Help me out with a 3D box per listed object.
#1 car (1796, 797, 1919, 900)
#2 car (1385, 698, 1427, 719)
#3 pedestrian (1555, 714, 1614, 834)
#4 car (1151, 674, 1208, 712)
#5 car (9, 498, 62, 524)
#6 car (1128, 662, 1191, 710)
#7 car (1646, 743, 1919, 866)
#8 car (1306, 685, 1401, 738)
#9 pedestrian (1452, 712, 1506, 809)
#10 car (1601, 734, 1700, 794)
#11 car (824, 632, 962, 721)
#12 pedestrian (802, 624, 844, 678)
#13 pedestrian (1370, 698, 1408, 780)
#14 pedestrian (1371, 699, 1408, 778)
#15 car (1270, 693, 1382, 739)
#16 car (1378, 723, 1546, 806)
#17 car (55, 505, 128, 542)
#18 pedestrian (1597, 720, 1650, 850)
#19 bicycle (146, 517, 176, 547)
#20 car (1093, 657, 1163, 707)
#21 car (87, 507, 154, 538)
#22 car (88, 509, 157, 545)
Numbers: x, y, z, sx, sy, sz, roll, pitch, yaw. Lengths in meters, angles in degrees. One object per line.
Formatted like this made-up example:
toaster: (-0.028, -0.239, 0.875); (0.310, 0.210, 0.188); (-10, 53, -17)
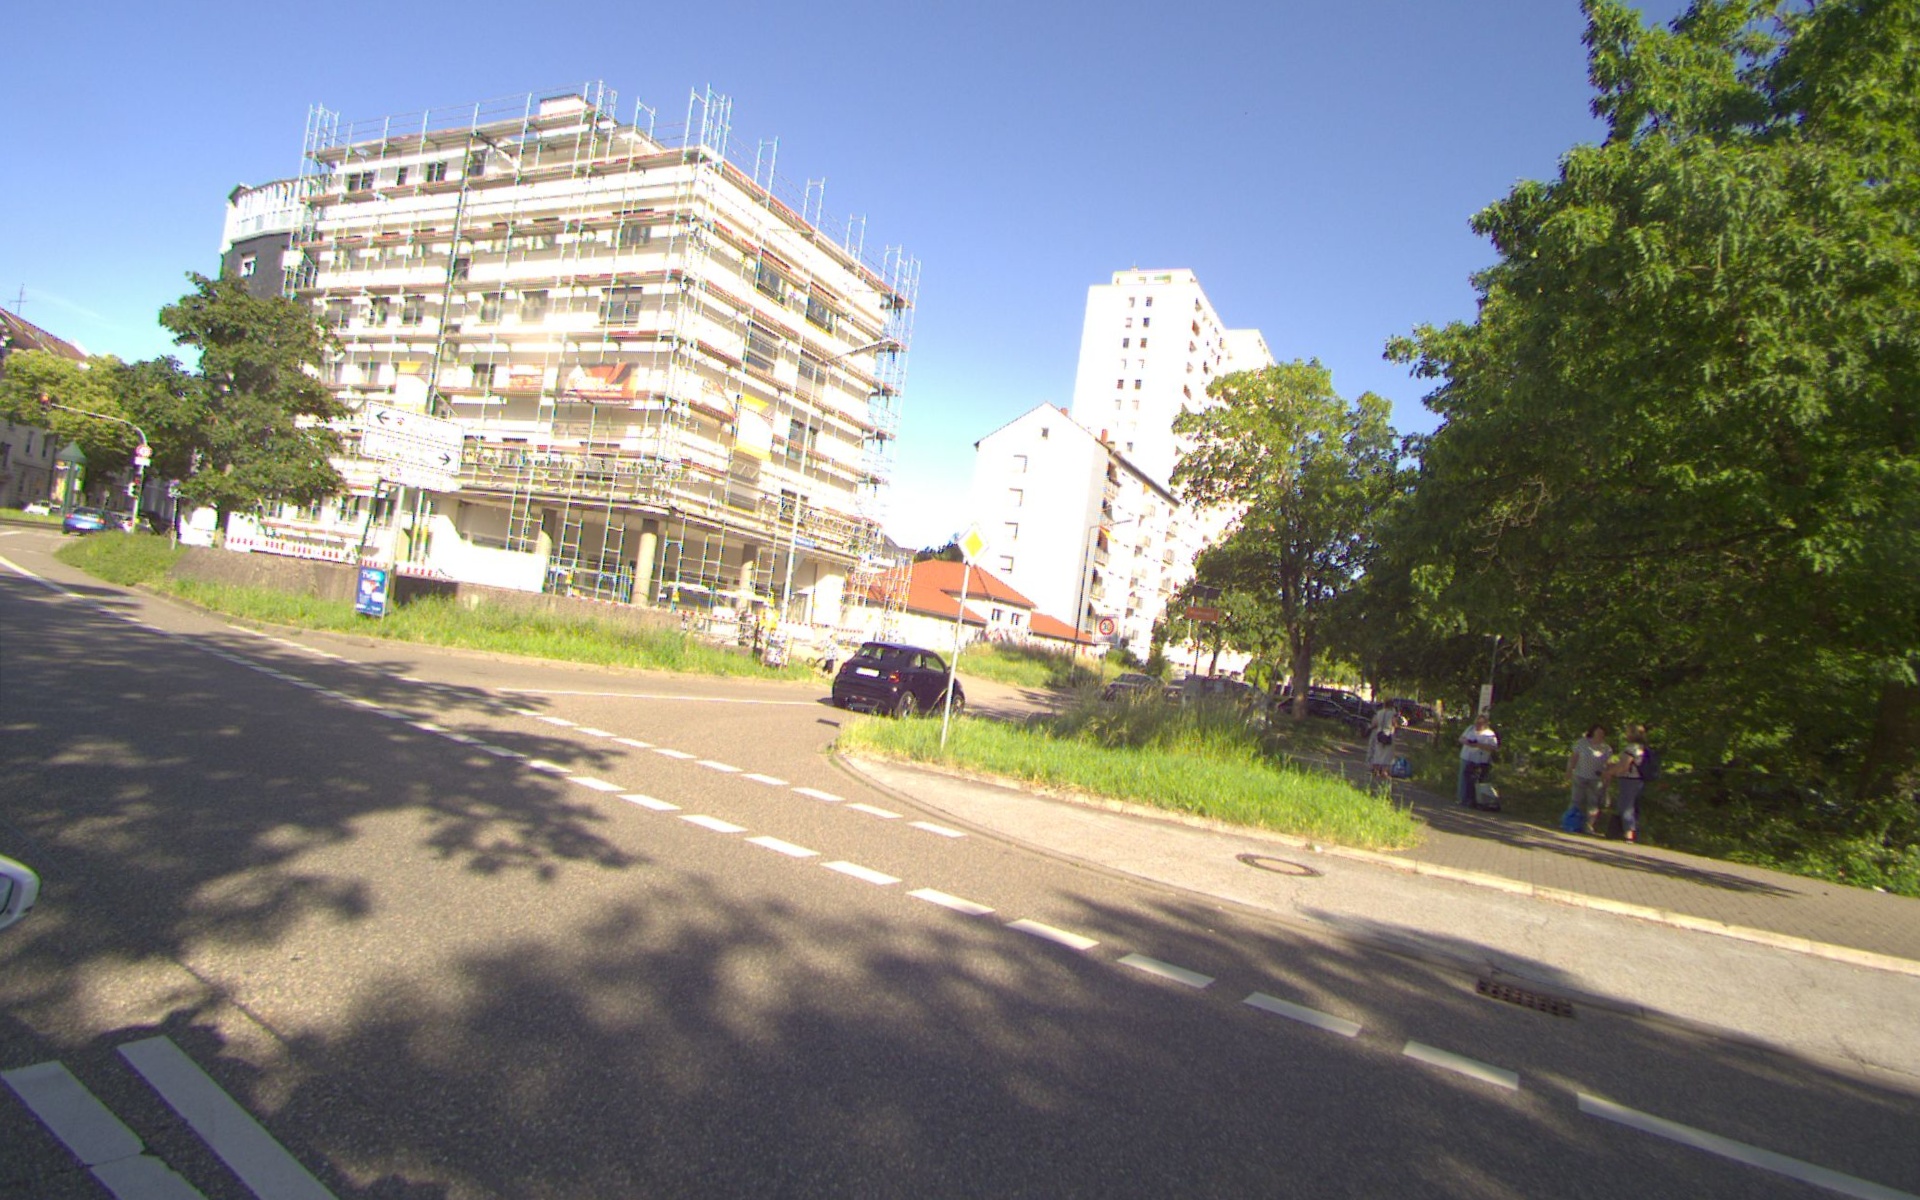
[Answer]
car: (14.929, 3.904, 14.723); (3.845, 1.167, 1.400); (7, -2, 29)
car: (49.347, 11.985, 111.268); (3.931, 1.674, 2.001); (6, -4, 28)
pedestrian: (9.233, 2.555, 14.891); (0.542, 1.653, 0.623); (7, -1, 31)
car: (12.537, 5.317, 57.301); (1.966, 1.679, 4.000); (6, -4, 30)
car: (-70.056, -6.733, 76.283); (1.774, 1.499, 3.512); (9, -2, -24)
car: (10.632, 4.592, 53.423); (1.966, 2.035, 4.000); (6, -4, 30)
car: (18.364, 4.484, 22.422); (4.809, 1.554, 1.999); (9, -2, 33)
car: (21.116, 5.976, 54.032); (4.281, 2.096, 1.997); (7, -2, 33)
pedestrian: (8.792, 2.704, 17.035); (0.603, 1.535, 0.528); (7, -1, 33)
car: (19.492, 4.589, 28.549); (1.594, 1.288, 3.653); (5, -4, 25)
car: (-1.329, 1.631, 21.533); (1.648, 1.520, 3.566); (8, -2, 17)
pedestrian: (-4.212, 1.562, 30.946); (0.892, 1.514, 0.652); (7, -1, 22)
pedestrian: (9.089, 2.934, 21.325); (0.557, 1.637, 0.706); (7, -3, 25)
pedestrian: (9.453, 3.044, 22.139); (0.557, 1.637, 0.599); (7, -3, 25)
car: (15.436, 4.892, 42.520); (3.941, 1.312, 1.996); (5, -4, 38)
car: (14.245, 4.618, 28.566); (3.936, 1.624, 1.998); (6, -4, 34)
car: (-43.460, -3.794, 50.407); (1.761, 1.459, 3.595); (10, -2, -27)
pedestrian: (9.326, 2.582, 14.159); (0.403, 1.719, 0.603); (7, -1, 30)
bicycle: (-45.202, -3.832, 56.948); (0.568, 1.528, 2.790); (8, -2, -26)
car: (8.170, 4.003, 48.630); (1.965, 2.036, 3.999); (7, -3, 28)
car: (-63.364, -5.834, 75.929); (3.925, 1.612, 1.913); (8, -2, 17)
car: (-45.578, -3.945, 54.835); (1.804, 1.525, 3.975); (9, -2, -26)
